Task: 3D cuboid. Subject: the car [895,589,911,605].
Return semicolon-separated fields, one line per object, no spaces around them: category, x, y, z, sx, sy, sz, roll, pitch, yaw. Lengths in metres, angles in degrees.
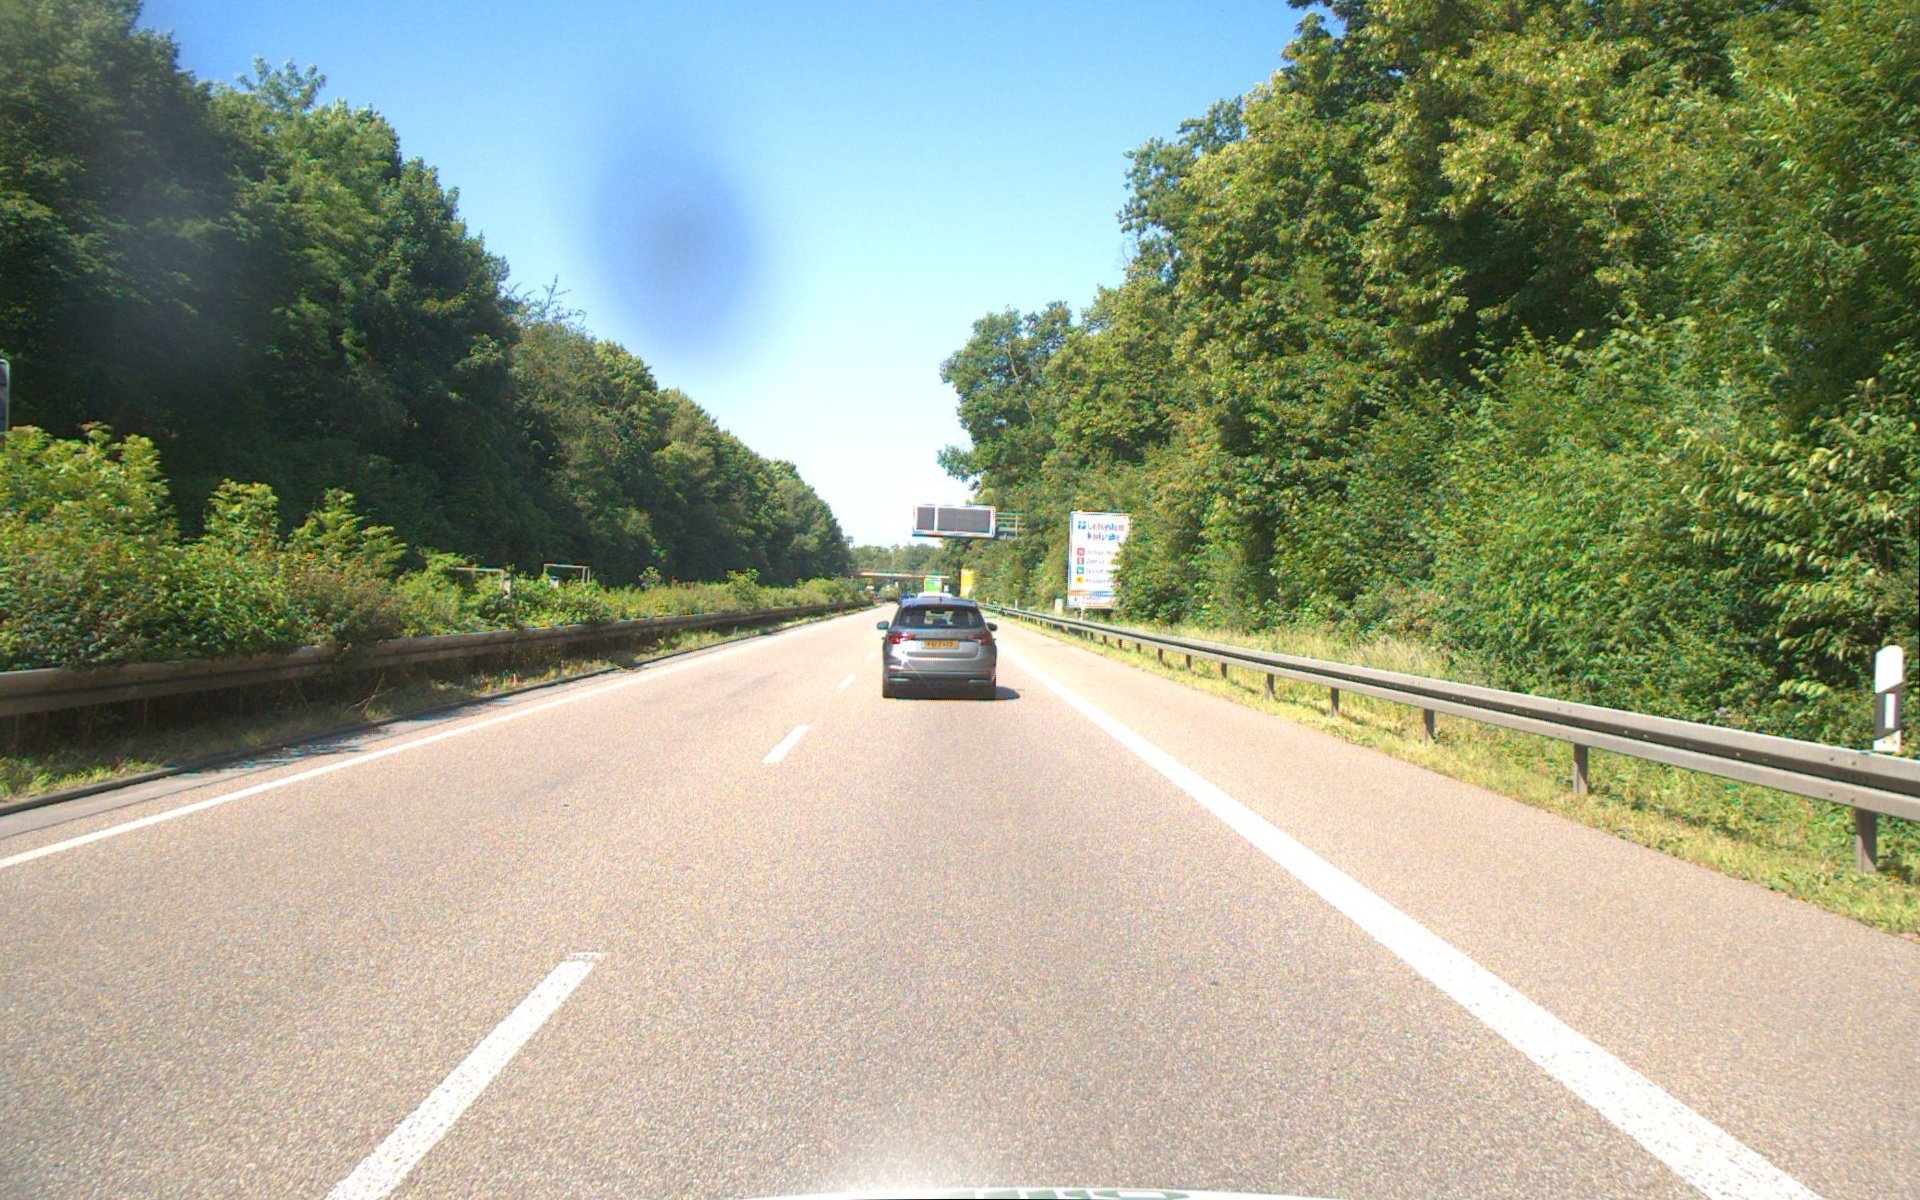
car;-7.628;-0.395;221.090;1.953;2.049;3.999;1;0;-1

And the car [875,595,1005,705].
car;-0.257;0.701;24.979;1.802;1.497;3.624;1;0;1

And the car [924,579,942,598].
car;-4.096;-1.704;249.412;2.693;2.700;3.999;1;0;-1

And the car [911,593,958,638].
car;-0.870;0.516;56.915;1.491;1.472;3.340;1;0;1
